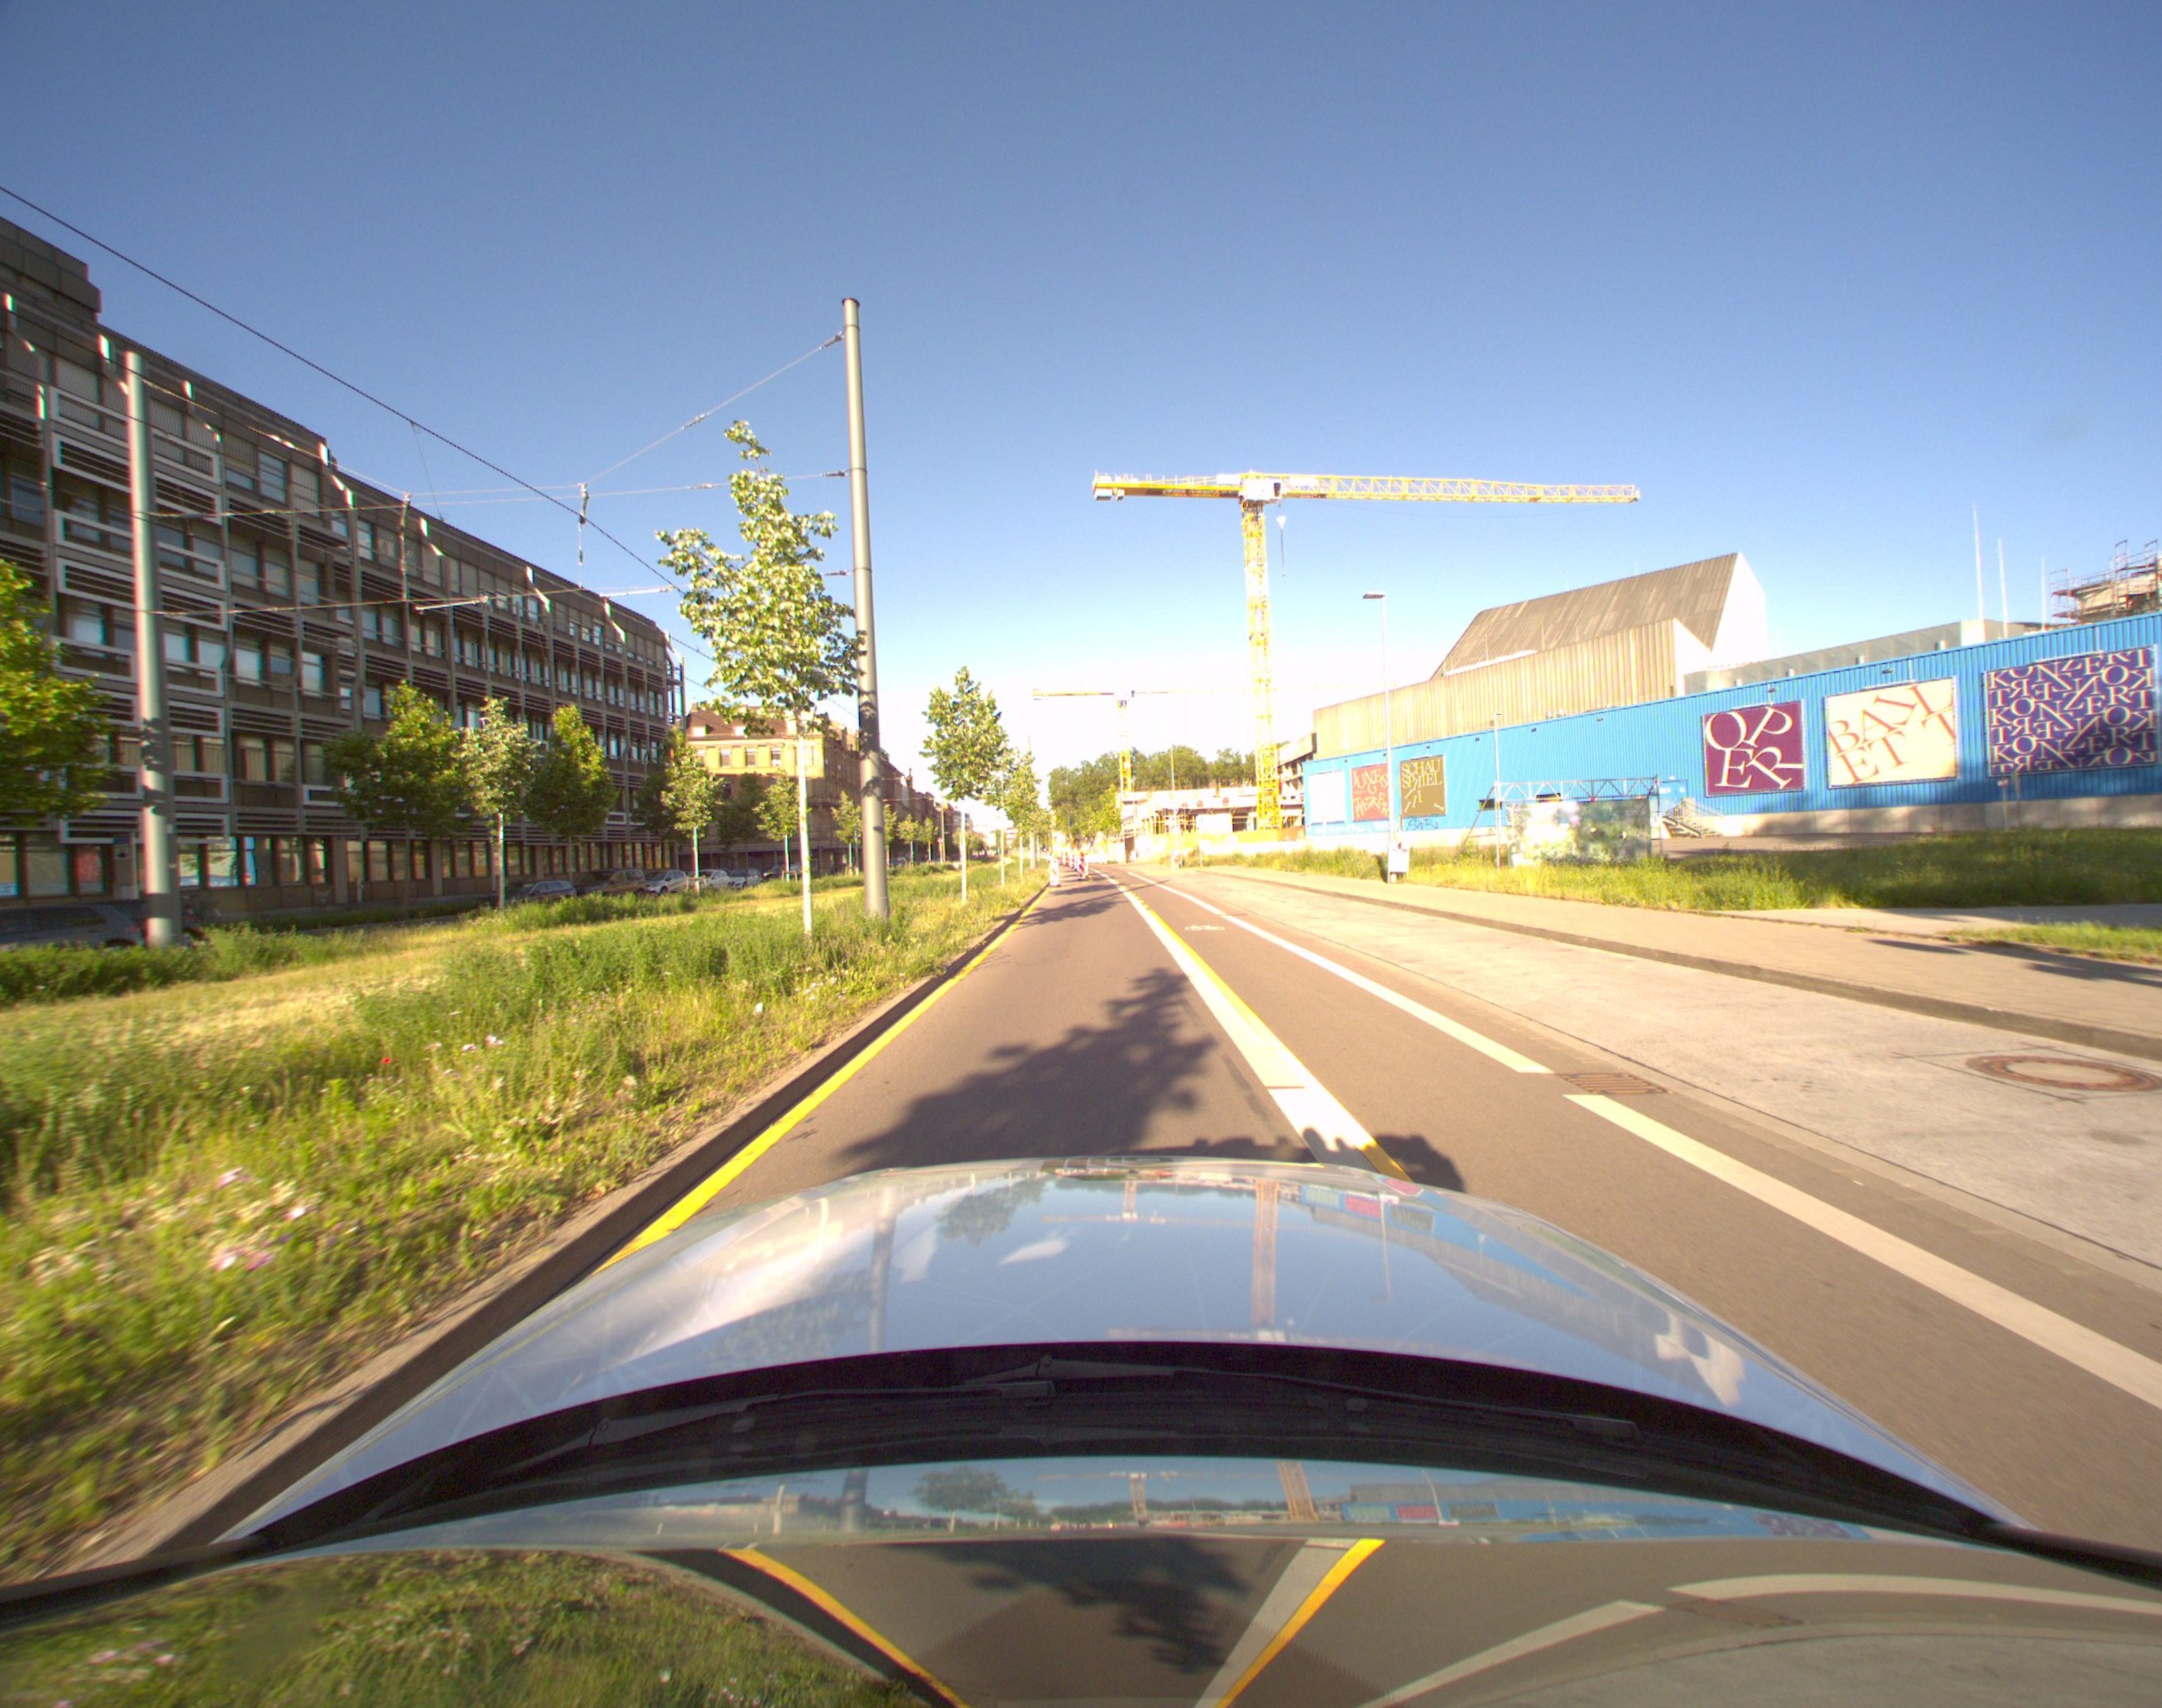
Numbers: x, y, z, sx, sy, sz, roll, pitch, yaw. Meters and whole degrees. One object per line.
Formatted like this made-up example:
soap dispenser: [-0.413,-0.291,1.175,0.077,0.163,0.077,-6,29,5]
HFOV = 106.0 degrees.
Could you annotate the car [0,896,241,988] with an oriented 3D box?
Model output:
car: [-19.787,1.680,16.213,1.708,1.387,4.044,-2,0,4]

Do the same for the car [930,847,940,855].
car: [-31.106,-0.694,173.809,1.564,1.562,4.705,-3,1,-6]

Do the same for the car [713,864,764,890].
car: [-23.663,1.571,56.443,1.642,1.554,3.969,-2,0,2]

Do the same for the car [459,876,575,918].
car: [-23.941,1.794,34.804,1.723,1.469,4.505,-1,1,1]

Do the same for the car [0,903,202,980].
car: [-24.568,2.051,19.893,1.709,1.387,4.043,0,1,3]

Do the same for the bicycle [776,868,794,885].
bicycle: [-21.130,1.581,58.105,0.563,1.096,1.771,-3,0,1]

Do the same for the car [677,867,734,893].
car: [-23.474,1.599,51.037,1.618,1.441,3.821,-1,0,2]

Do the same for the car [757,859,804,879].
car: [-33.485,1.680,90.916,4.510,1.903,1.892,-3,0,-10]

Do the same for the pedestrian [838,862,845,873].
pedestrian: [-29.470,1.660,100.251,0.689,1.246,0.928,-2,0,-5]

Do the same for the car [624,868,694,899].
car: [-23.544,1.615,45.618,1.731,1.536,3.887,-2,1,2]

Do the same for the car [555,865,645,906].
car: [-23.769,1.508,40.433,1.744,1.771,4.334,-1,1,2]

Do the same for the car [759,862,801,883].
car: [-23.829,1.440,64.530,1.723,1.461,3.902,-1,0,2]

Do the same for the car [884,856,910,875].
car: [-19.062,1.166,84.520,1.722,1.746,4.121,-2,0,0]

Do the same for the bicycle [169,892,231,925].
bicycle: [-31.714,1.967,29.316,1.918,1.072,0.426,-3,0,6]

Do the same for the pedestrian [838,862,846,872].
pedestrian: [-30.186,1.603,102.731,0.790,1.208,0.928,-2,0,-5]

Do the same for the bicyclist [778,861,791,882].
bicyclist: [-21.147,1.218,58.145,0.563,1.457,0.706,-3,0,1]
